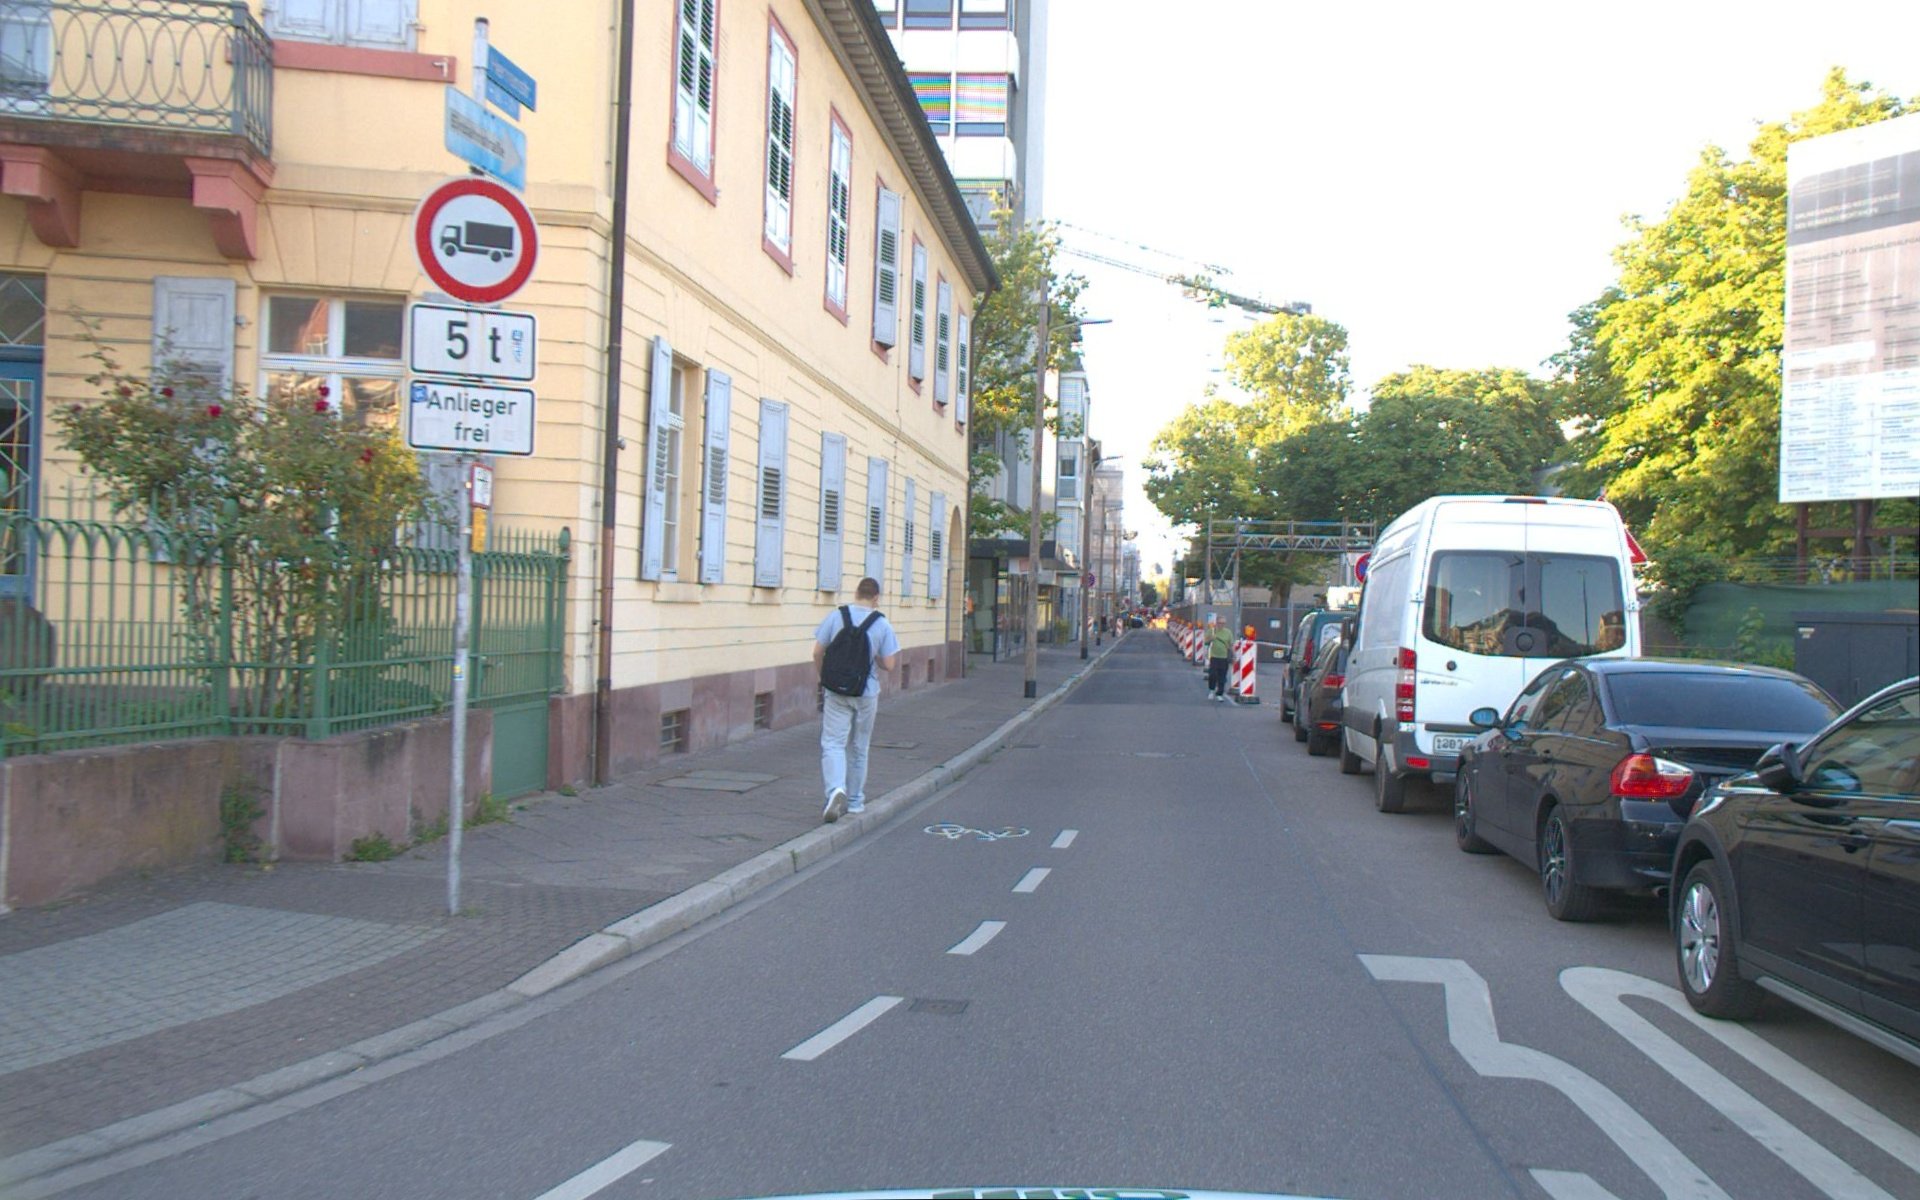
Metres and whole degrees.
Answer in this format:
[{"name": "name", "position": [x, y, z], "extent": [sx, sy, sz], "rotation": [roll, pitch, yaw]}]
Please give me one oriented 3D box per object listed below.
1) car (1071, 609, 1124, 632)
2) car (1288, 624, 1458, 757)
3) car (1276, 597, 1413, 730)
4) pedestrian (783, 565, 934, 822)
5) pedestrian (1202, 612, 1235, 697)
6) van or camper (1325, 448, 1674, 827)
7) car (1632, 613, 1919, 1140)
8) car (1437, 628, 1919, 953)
[{"name": "car", "position": [9.847, 1.462, 118.245], "extent": [3.664, 1.485, 1.699], "rotation": [1, -1, 6]}, {"name": "car", "position": [5.249, 1.084, 21.468], "extent": [1.656, 1.485, 4.102], "rotation": [2, 0, 8]}, {"name": "car", "position": [5.967, 0.939, 26.021], "extent": [1.676, 1.881, 4.025], "rotation": [2, 0, 8]}, {"name": "pedestrian", "position": [-0.720, 0.647, 11.938], "extent": [0.857, 1.754, 0.830], "rotation": [2, -1, 11]}, {"name": "pedestrian", "position": [5.163, 1.074, 32.971], "extent": [0.600, 1.657, 0.819], "rotation": [2, -1, 9]}, {"name": "van or camper", "position": [4.796, 0.317, 15.778], "extent": [2.033, 2.823, 6.454], "rotation": [1, -1, 8]}, {"name": "car", "position": [3.793, 0.852, 5.413], "extent": [1.741, 1.570, 4.293], "rotation": [1, 0, 5]}, {"name": "car", "position": [4.191, 0.943, 10.114], "extent": [1.692, 1.454, 4.477], "rotation": [2, 0, 7]}]
